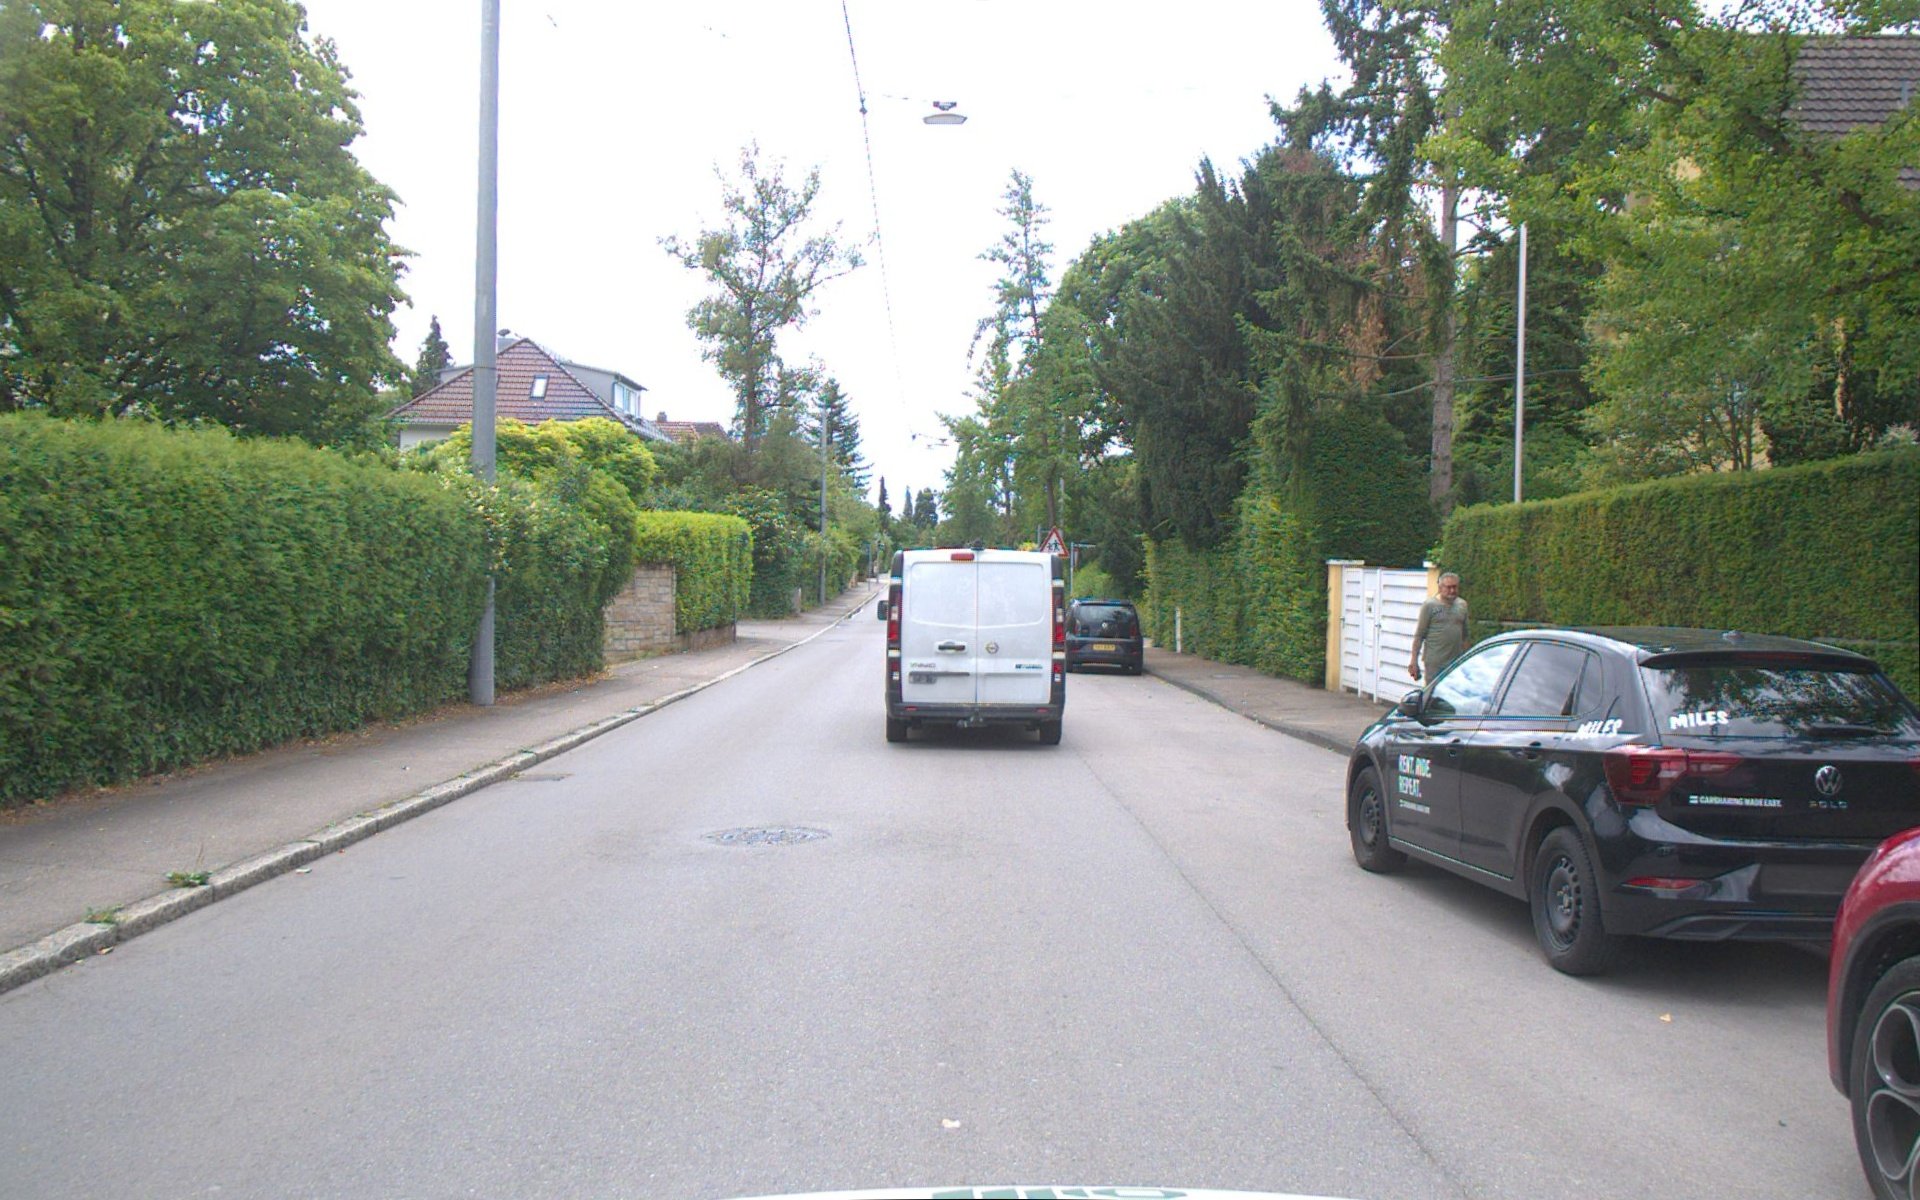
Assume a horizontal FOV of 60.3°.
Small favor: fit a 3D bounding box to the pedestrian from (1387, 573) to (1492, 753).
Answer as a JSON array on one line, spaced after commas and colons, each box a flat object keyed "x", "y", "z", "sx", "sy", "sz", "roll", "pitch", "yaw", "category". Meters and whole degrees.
[{"x": 4.742, "y": 0.603, "z": 16.396, "sx": 0.657, "sy": 1.728, "sz": 0.916, "roll": 0, "pitch": 0, "yaw": -10, "category": "pedestrian"}]

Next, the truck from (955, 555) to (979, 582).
[{"x": 0.643, "y": -3.168, "z": 164.909, "sx": 2.143, "sy": 2.514, "sz": 7.430, "roll": 2, "pitch": 1, "yaw": -1, "category": "truck"}]

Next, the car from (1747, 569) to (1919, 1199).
[{"x": 3.256, "y": 0.727, "z": 2.489, "sx": 1.850, "sy": 1.609, "sz": 4.765, "roll": -1, "pitch": 0, "yaw": 0, "category": "car"}]

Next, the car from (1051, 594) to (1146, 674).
[{"x": 2.848, "y": 0.664, "z": 34.645, "sx": 1.590, "sy": 1.498, "sz": 3.740, "roll": 2, "pitch": 1, "yaw": -1, "category": "car"}]

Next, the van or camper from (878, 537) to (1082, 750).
[{"x": 0.134, "y": 0.412, "z": 18.379, "sx": 1.900, "sy": 1.988, "sz": 4.764, "roll": 2, "pitch": 0, "yaw": -2, "category": "van or camper"}]

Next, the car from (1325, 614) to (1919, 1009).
[{"x": 3.237, "y": 0.818, "z": 8.360, "sx": 1.646, "sy": 1.431, "sz": 4.050, "roll": -1, "pitch": 0, "yaw": -4, "category": "car"}]

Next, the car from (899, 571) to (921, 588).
[{"x": -4.567, "y": -1.897, "z": 152.110, "sx": 1.768, "sy": 1.456, "sz": 4.302, "roll": -1, "pitch": 1, "yaw": 1, "category": "car"}]
